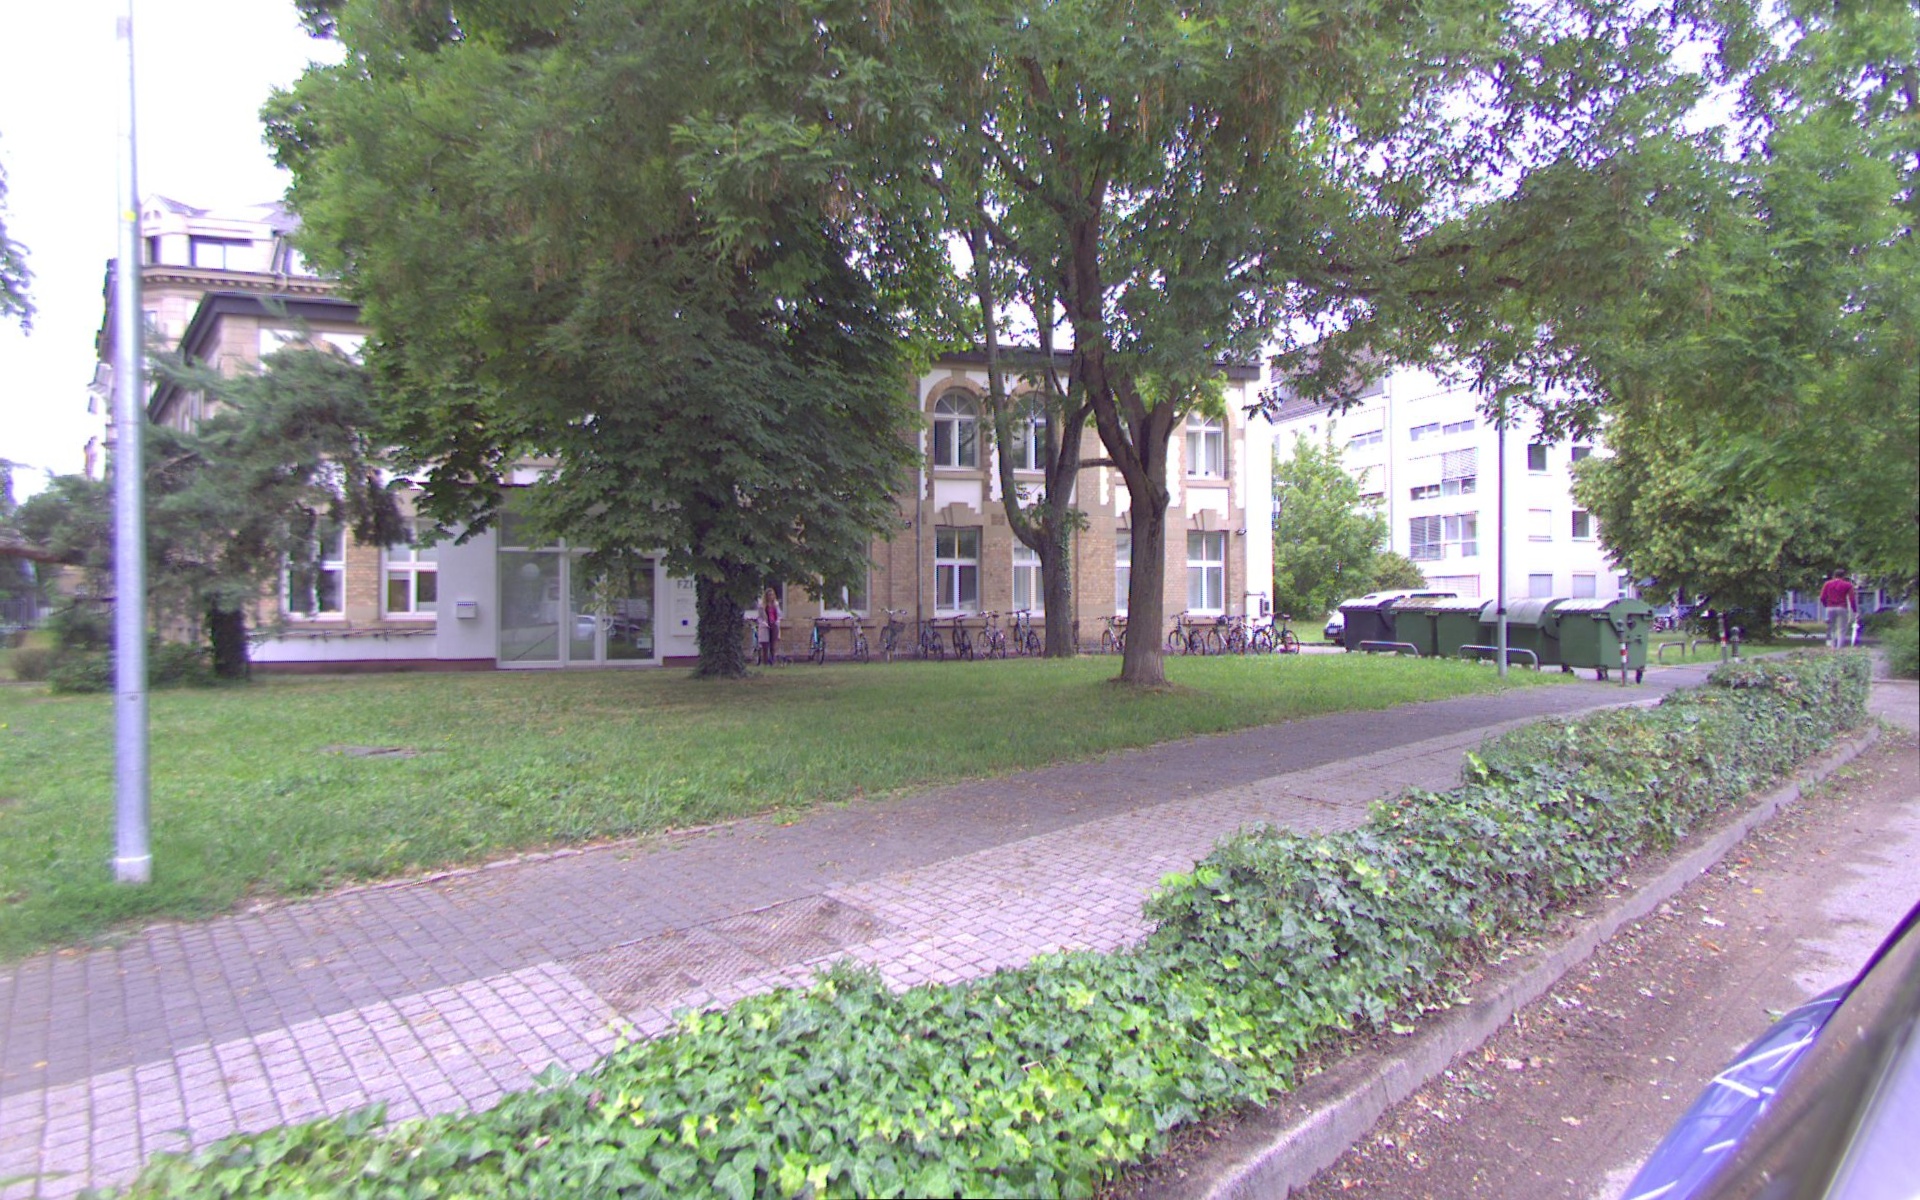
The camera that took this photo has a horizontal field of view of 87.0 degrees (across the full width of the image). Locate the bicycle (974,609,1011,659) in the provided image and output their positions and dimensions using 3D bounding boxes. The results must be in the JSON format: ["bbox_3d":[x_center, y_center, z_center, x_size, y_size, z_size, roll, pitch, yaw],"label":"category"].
[{"bbox_3d":[0.754,0.790,24.133,0.451,1.129,1.748,0,0,-13],"label":"bicycle"}]

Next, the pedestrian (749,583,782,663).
[{"bbox_3d":[-4.003,0.458,20.802,0.614,1.607,0.605,0,0,-15],"label":"pedestrian"}]

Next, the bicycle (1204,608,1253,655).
[{"bbox_3d":[6.845,0.784,25.884,0.451,1.129,1.748,0,0,-13],"label":"bicycle"}]

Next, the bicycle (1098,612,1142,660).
[{"bbox_3d":[3.915,0.859,24.930,0.451,1.129,1.748,0,0,-13],"label":"bicycle"}]

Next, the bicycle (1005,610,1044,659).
[{"bbox_3d":[1.538,0.806,24.360,0.451,1.129,1.748,0,0,-13],"label":"bicycle"}]

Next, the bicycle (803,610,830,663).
[{"bbox_3d":[-3.264,0.809,22.939,0.451,1.129,1.748,0,0,-13],"label":"bicycle"}]

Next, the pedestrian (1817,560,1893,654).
[{"bbox_3d":[20.322,0.155,22.976,1.176,2.090,0.796,0,0,-19],"label":"pedestrian"}]

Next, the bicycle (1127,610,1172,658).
[{"bbox_3d":[4.693,0.831,25.147,0.451,1.129,1.748,0,0,-13],"label":"bicycle"}]

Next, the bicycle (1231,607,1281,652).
[{"bbox_3d":[7.601,0.739,26.060,0.451,1.129,1.748,0,0,-13],"label":"bicycle"}]

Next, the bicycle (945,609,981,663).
[{"bbox_3d":[0.047,0.821,23.757,0.451,1.128,1.749,0,2,-13],"label":"bicycle"}]

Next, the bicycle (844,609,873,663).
[{"bbox_3d":[-2.335,0.803,23.160,0.451,1.128,1.748,0,2,-13],"label":"bicycle"}]

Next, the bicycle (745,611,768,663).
[{"bbox_3d":[-4.592,0.810,22.817,0.451,1.129,1.748,0,0,-13],"label":"bicycle"}]

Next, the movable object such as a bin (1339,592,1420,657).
[{"bbox_3d":[9.724,0.550,23.492,1.085,1.469,1.365,0,-1,-20],"label":"movable object such as a bin"}]

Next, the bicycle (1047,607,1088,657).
[{"bbox_3d":[2.588,0.759,24.498,0.451,1.129,1.748,0,0,-13],"label":"bicycle"}]

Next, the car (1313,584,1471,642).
[{"bbox_3d":[14.715,0.453,34.572,4.673,1.898,1.904,0,-3,-13],"label":"car"}]

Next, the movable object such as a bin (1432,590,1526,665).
[{"bbox_3d":[10.584,0.548,20.676,1.085,1.469,1.297,0,-1,-19],"label":"movable object such as a bin"}]

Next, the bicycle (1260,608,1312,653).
[{"bbox_3d":[8.433,0.774,26.242,0.451,1.129,1.748,0,0,-14],"label":"bicycle"}]

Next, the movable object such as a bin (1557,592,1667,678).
[{"bbox_3d":[11.397,0.585,17.741,1.050,1.452,1.276,0,0,-6],"label":"movable object such as a bin"}]

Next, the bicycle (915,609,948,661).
[{"bbox_3d":[-0.683,0.801,23.725,0.451,1.128,1.748,0,1,-13],"label":"bicycle"}]

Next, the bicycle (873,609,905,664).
[{"bbox_3d":[-1.655,0.818,23.346,0.451,1.128,1.749,0,3,-13],"label":"bicycle"}]

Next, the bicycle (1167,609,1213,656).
[{"bbox_3d":[5.753,0.793,25.381,0.451,1.129,1.747,0,0,-11],"label":"bicycle"}]

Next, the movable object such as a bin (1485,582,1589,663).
[{"bbox_3d":[10.900,0.402,19.164,1.085,1.469,1.289,0,-1,-19],"label":"movable object such as a bin"}]

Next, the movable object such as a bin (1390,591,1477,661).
[{"bbox_3d":[10.310,0.556,22.064,1.085,1.469,1.329,0,-1,-19],"label":"movable object such as a bin"}]
